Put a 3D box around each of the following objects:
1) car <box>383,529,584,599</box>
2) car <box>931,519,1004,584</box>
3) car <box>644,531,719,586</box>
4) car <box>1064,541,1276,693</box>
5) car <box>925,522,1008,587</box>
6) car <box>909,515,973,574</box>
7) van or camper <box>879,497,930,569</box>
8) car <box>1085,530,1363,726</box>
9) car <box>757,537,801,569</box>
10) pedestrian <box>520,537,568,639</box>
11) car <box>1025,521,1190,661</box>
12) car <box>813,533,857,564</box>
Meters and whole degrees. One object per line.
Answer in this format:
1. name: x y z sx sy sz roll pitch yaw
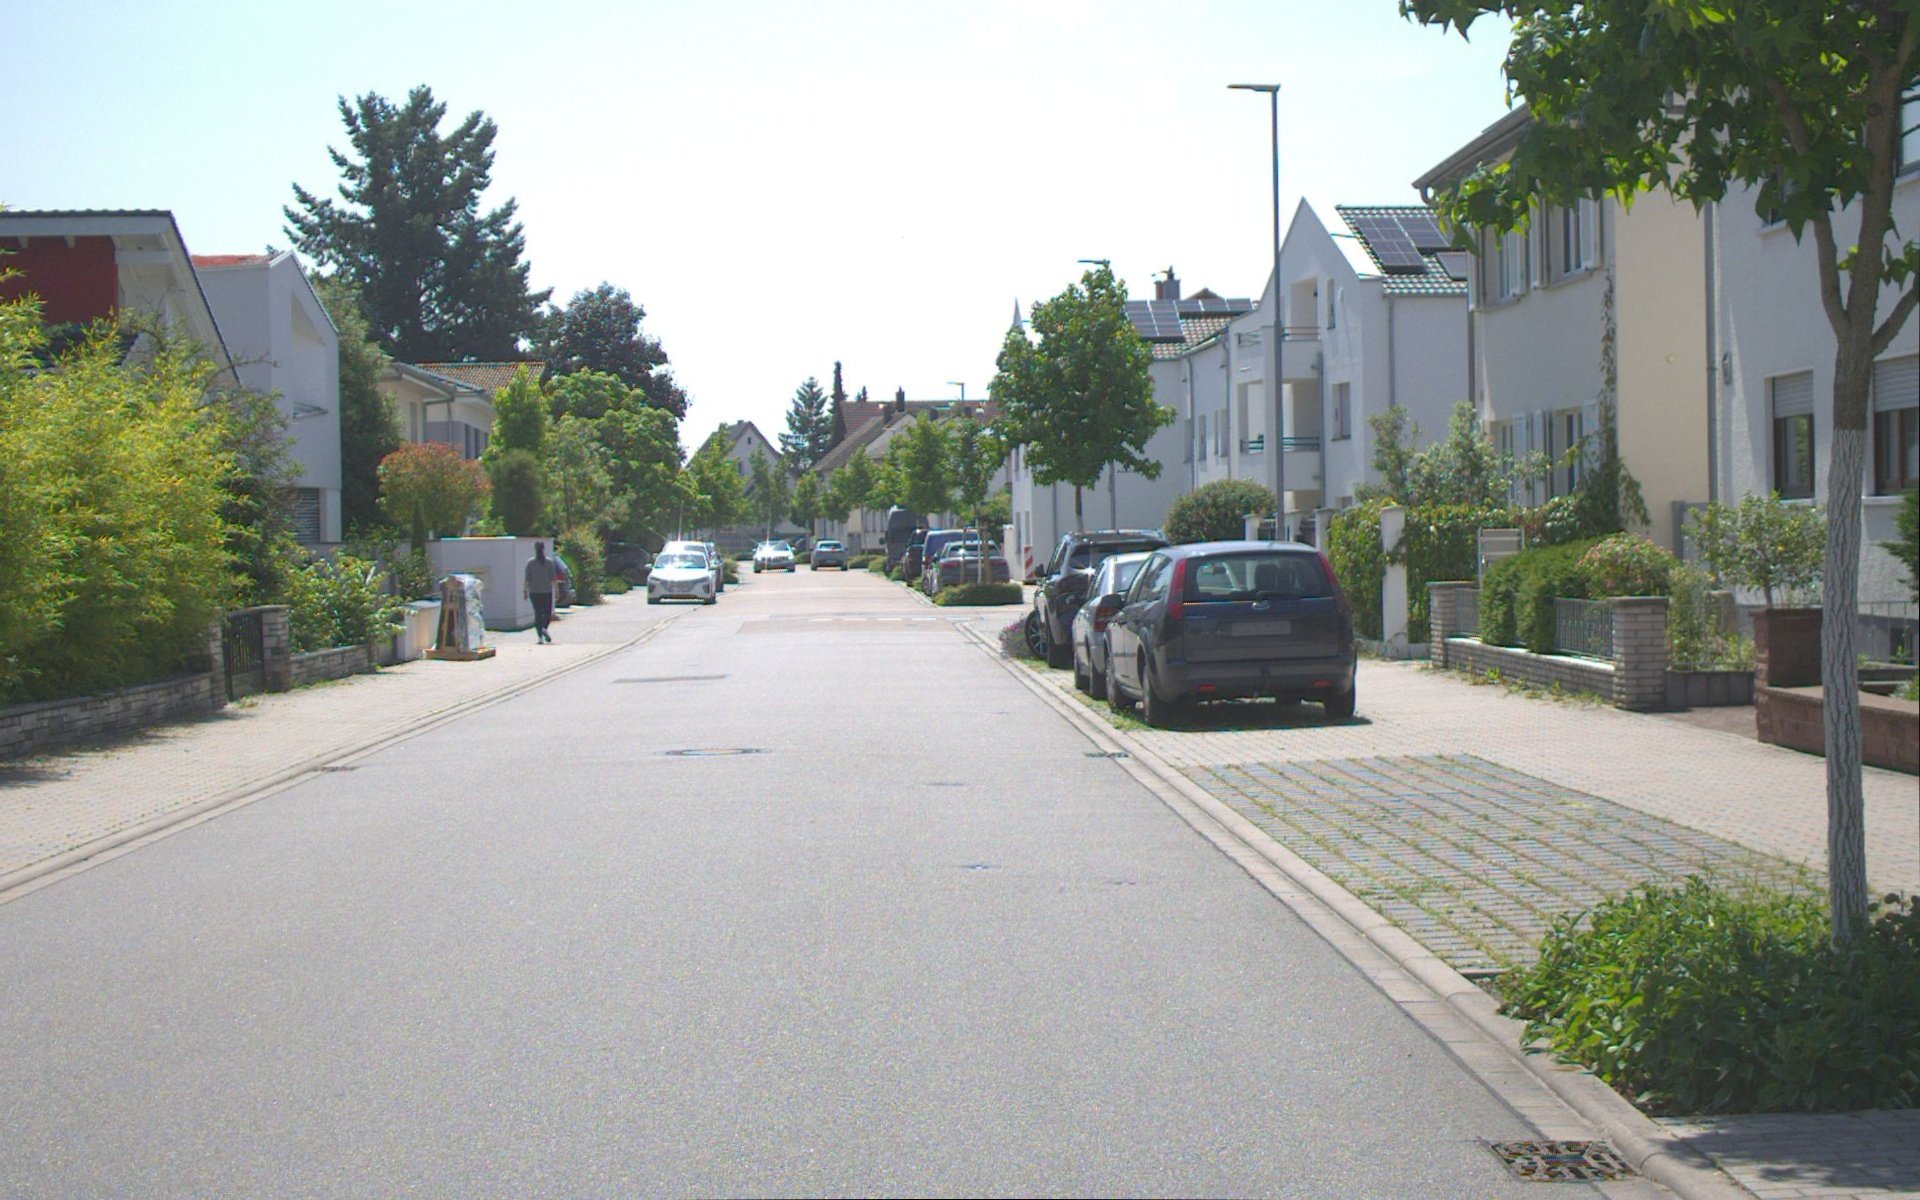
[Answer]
1. car: -11.312 -0.871 81.759 4.429 1.468 1.850 2 1 2
2. car: 0.207 -1.493 104.617 2.099 1.875 4.843 -1 1 -1
3. car: -7.761 -1.176 96.135 1.852 1.483 4.386 -1 1 -2
4. car: 2.096 0.130 35.251 1.814 1.415 4.093 -1 1 -1
5. car: 0.134 -1.170 87.822 1.773 1.590 4.280 -1 1 -4
6. car: -0.690 -1.930 118.897 1.993 1.940 5.215 -2 1 -2
7. van or camper: -2.331 -2.792 143.719 1.993 2.931 4.001 -1 1 -2
8. car: 2.188 0.178 29.605 1.741 1.528 4.450 -1 1 -4
9. car: -8.690 -2.290 165.399 1.853 1.473 4.700 -1 1 0
10. pedestrian: -7.186 -0.215 59.436 0.714 1.741 0.961 -1 1 -2
11. car: 1.849 -0.160 44.465 1.814 1.650 4.565 -1 2 -1
12. car: -6.127 -2.543 168.882 1.993 1.425 4.000 -1 1 0
